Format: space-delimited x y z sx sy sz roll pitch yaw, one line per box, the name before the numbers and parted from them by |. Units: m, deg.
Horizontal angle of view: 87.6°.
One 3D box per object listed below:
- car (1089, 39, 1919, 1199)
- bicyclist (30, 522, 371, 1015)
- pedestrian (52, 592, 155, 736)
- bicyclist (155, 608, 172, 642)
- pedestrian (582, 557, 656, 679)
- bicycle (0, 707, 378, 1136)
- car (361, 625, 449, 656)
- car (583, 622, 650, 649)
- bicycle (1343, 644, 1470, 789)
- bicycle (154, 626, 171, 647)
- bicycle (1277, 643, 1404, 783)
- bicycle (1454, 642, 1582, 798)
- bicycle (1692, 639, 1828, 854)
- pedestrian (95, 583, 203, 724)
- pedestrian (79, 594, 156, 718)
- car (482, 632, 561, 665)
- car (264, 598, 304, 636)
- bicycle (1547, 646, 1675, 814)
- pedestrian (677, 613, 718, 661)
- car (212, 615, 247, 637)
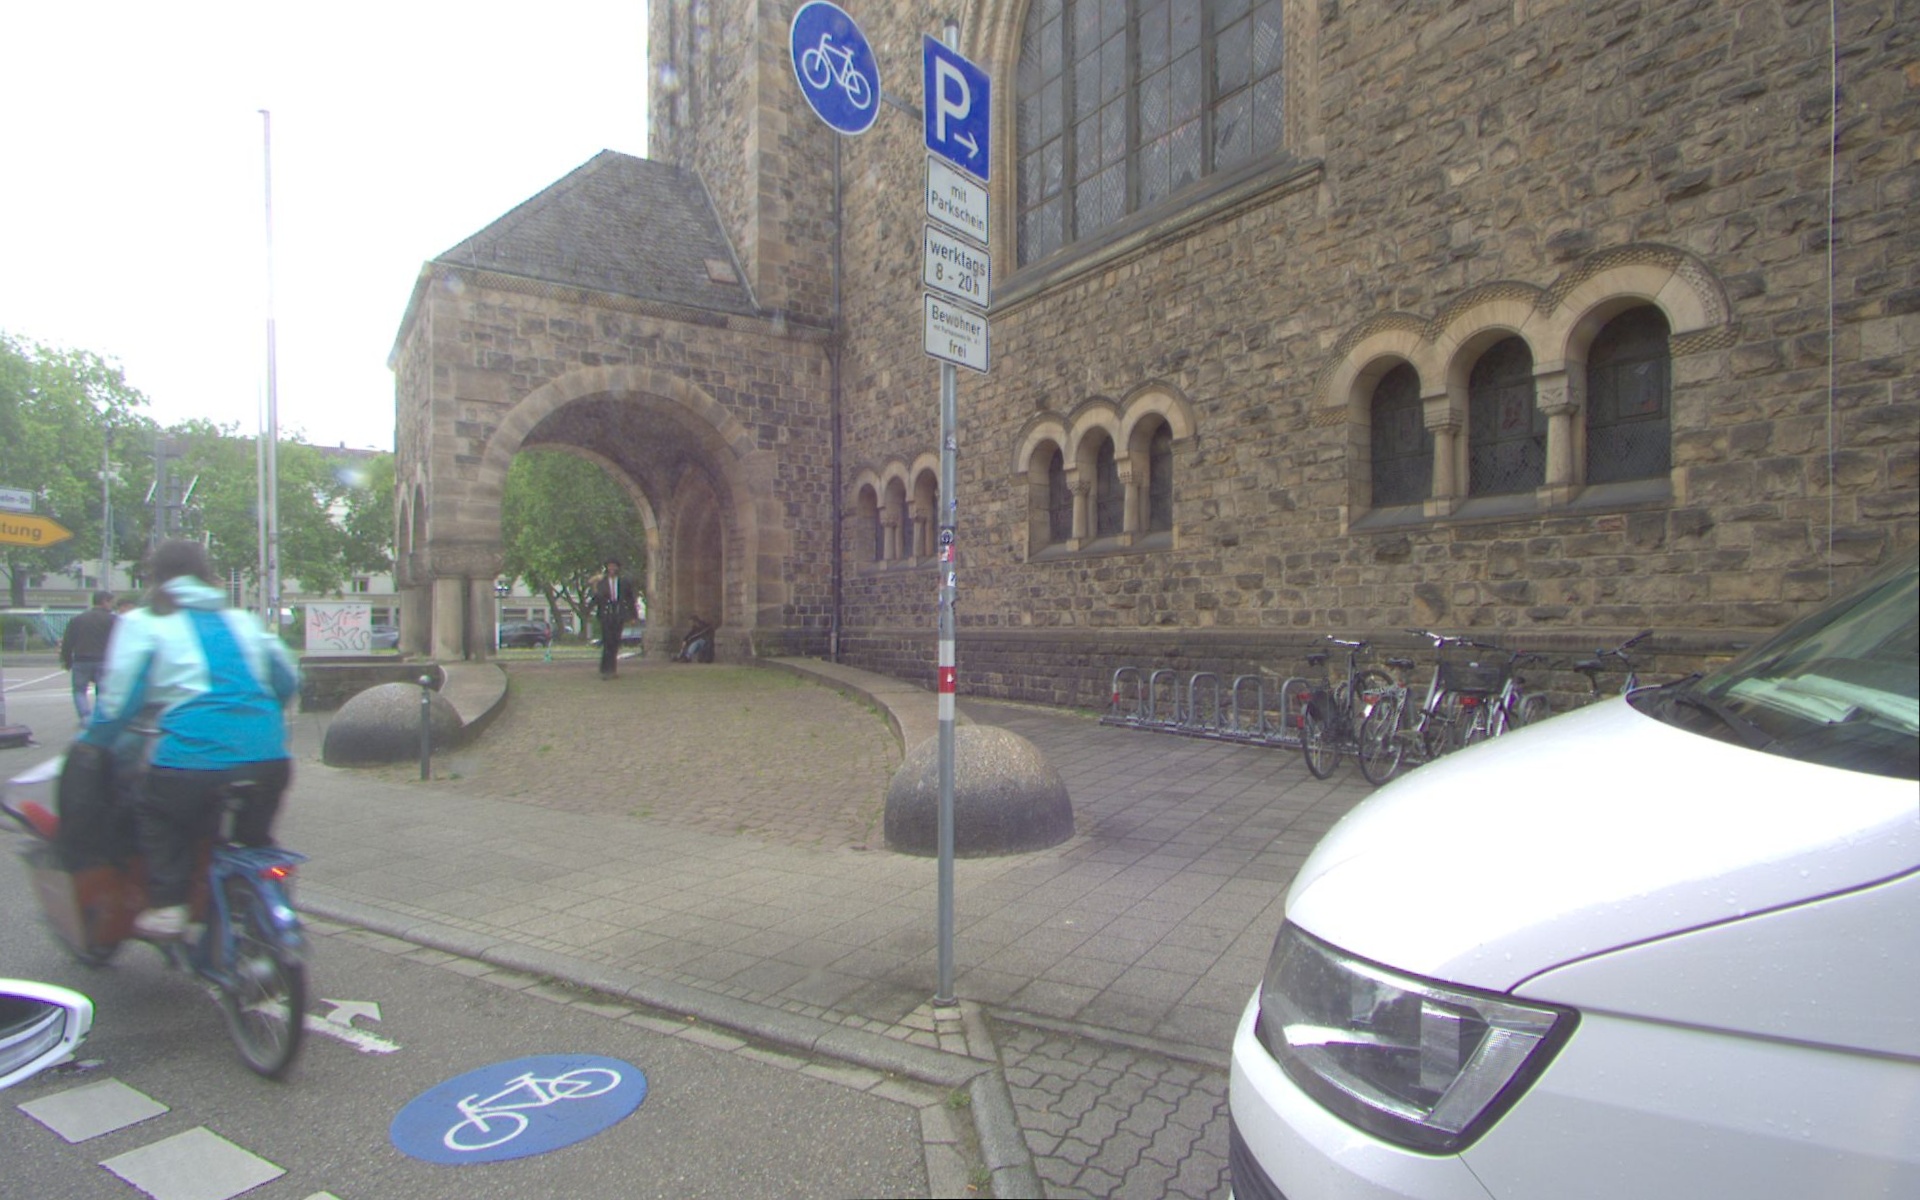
car | 2.801 0.466 0.786 5.088 1.945 1.802 -1 -1 31
bicyclist | -2.801 0.535 3.696 1.043 1.537 0.684 0 0 32
pedestrian | -10.665 0.767 12.472 0.955 1.708 0.673 0 2 32
bicyclist | -38.994 1.231 49.016 0.608 1.675 0.749 0 -1 -36
pedestrian | -5.369 0.265 15.753 0.806 1.833 1.012 0 2 -37
bicycle | -2.957 1.019 3.694 2.108 1.112 0.493 0 -1 32
car | -29.399 2.124 53.098 3.939 1.581 1.676 1 -1 -35
car | -20.205 2.076 58.934 3.423 1.581 1.676 1 -1 -35
bicycle | 3.625 0.904 8.093 1.366 1.073 0.309 1 -1 -36
bicycle | -38.987 1.755 48.959 0.546 1.008 2.047 0 -1 -35
bicycle | 3.206 0.910 8.386 1.366 1.073 0.309 1 -1 -36
bicycle | 4.212 0.859 7.526 1.366 1.073 0.309 1 -1 -36
bicycle | 4.836 0.827 6.030 1.327 1.161 0.309 1 -1 -36
pedestrian | -10.730 0.683 13.253 0.955 1.782 0.802 0 2 32
pedestrian | -12.024 0.776 14.291 0.957 1.696 0.630 0 2 39
car | -24.753 2.705 56.575 3.899 1.733 1.676 1 -1 -35
car | -50.600 1.287 75.070 2.211 2.673 5.417 1 -1 -31
bicycle | 4.626 0.877 7.089 1.327 1.073 0.309 1 -1 -36
pedestrian | -5.407 0.757 20.624 0.665 0.964 0.611 0 -1 -36
car | -51.546 1.836 70.669 1.647 1.535 3.916 1 -1 -31
